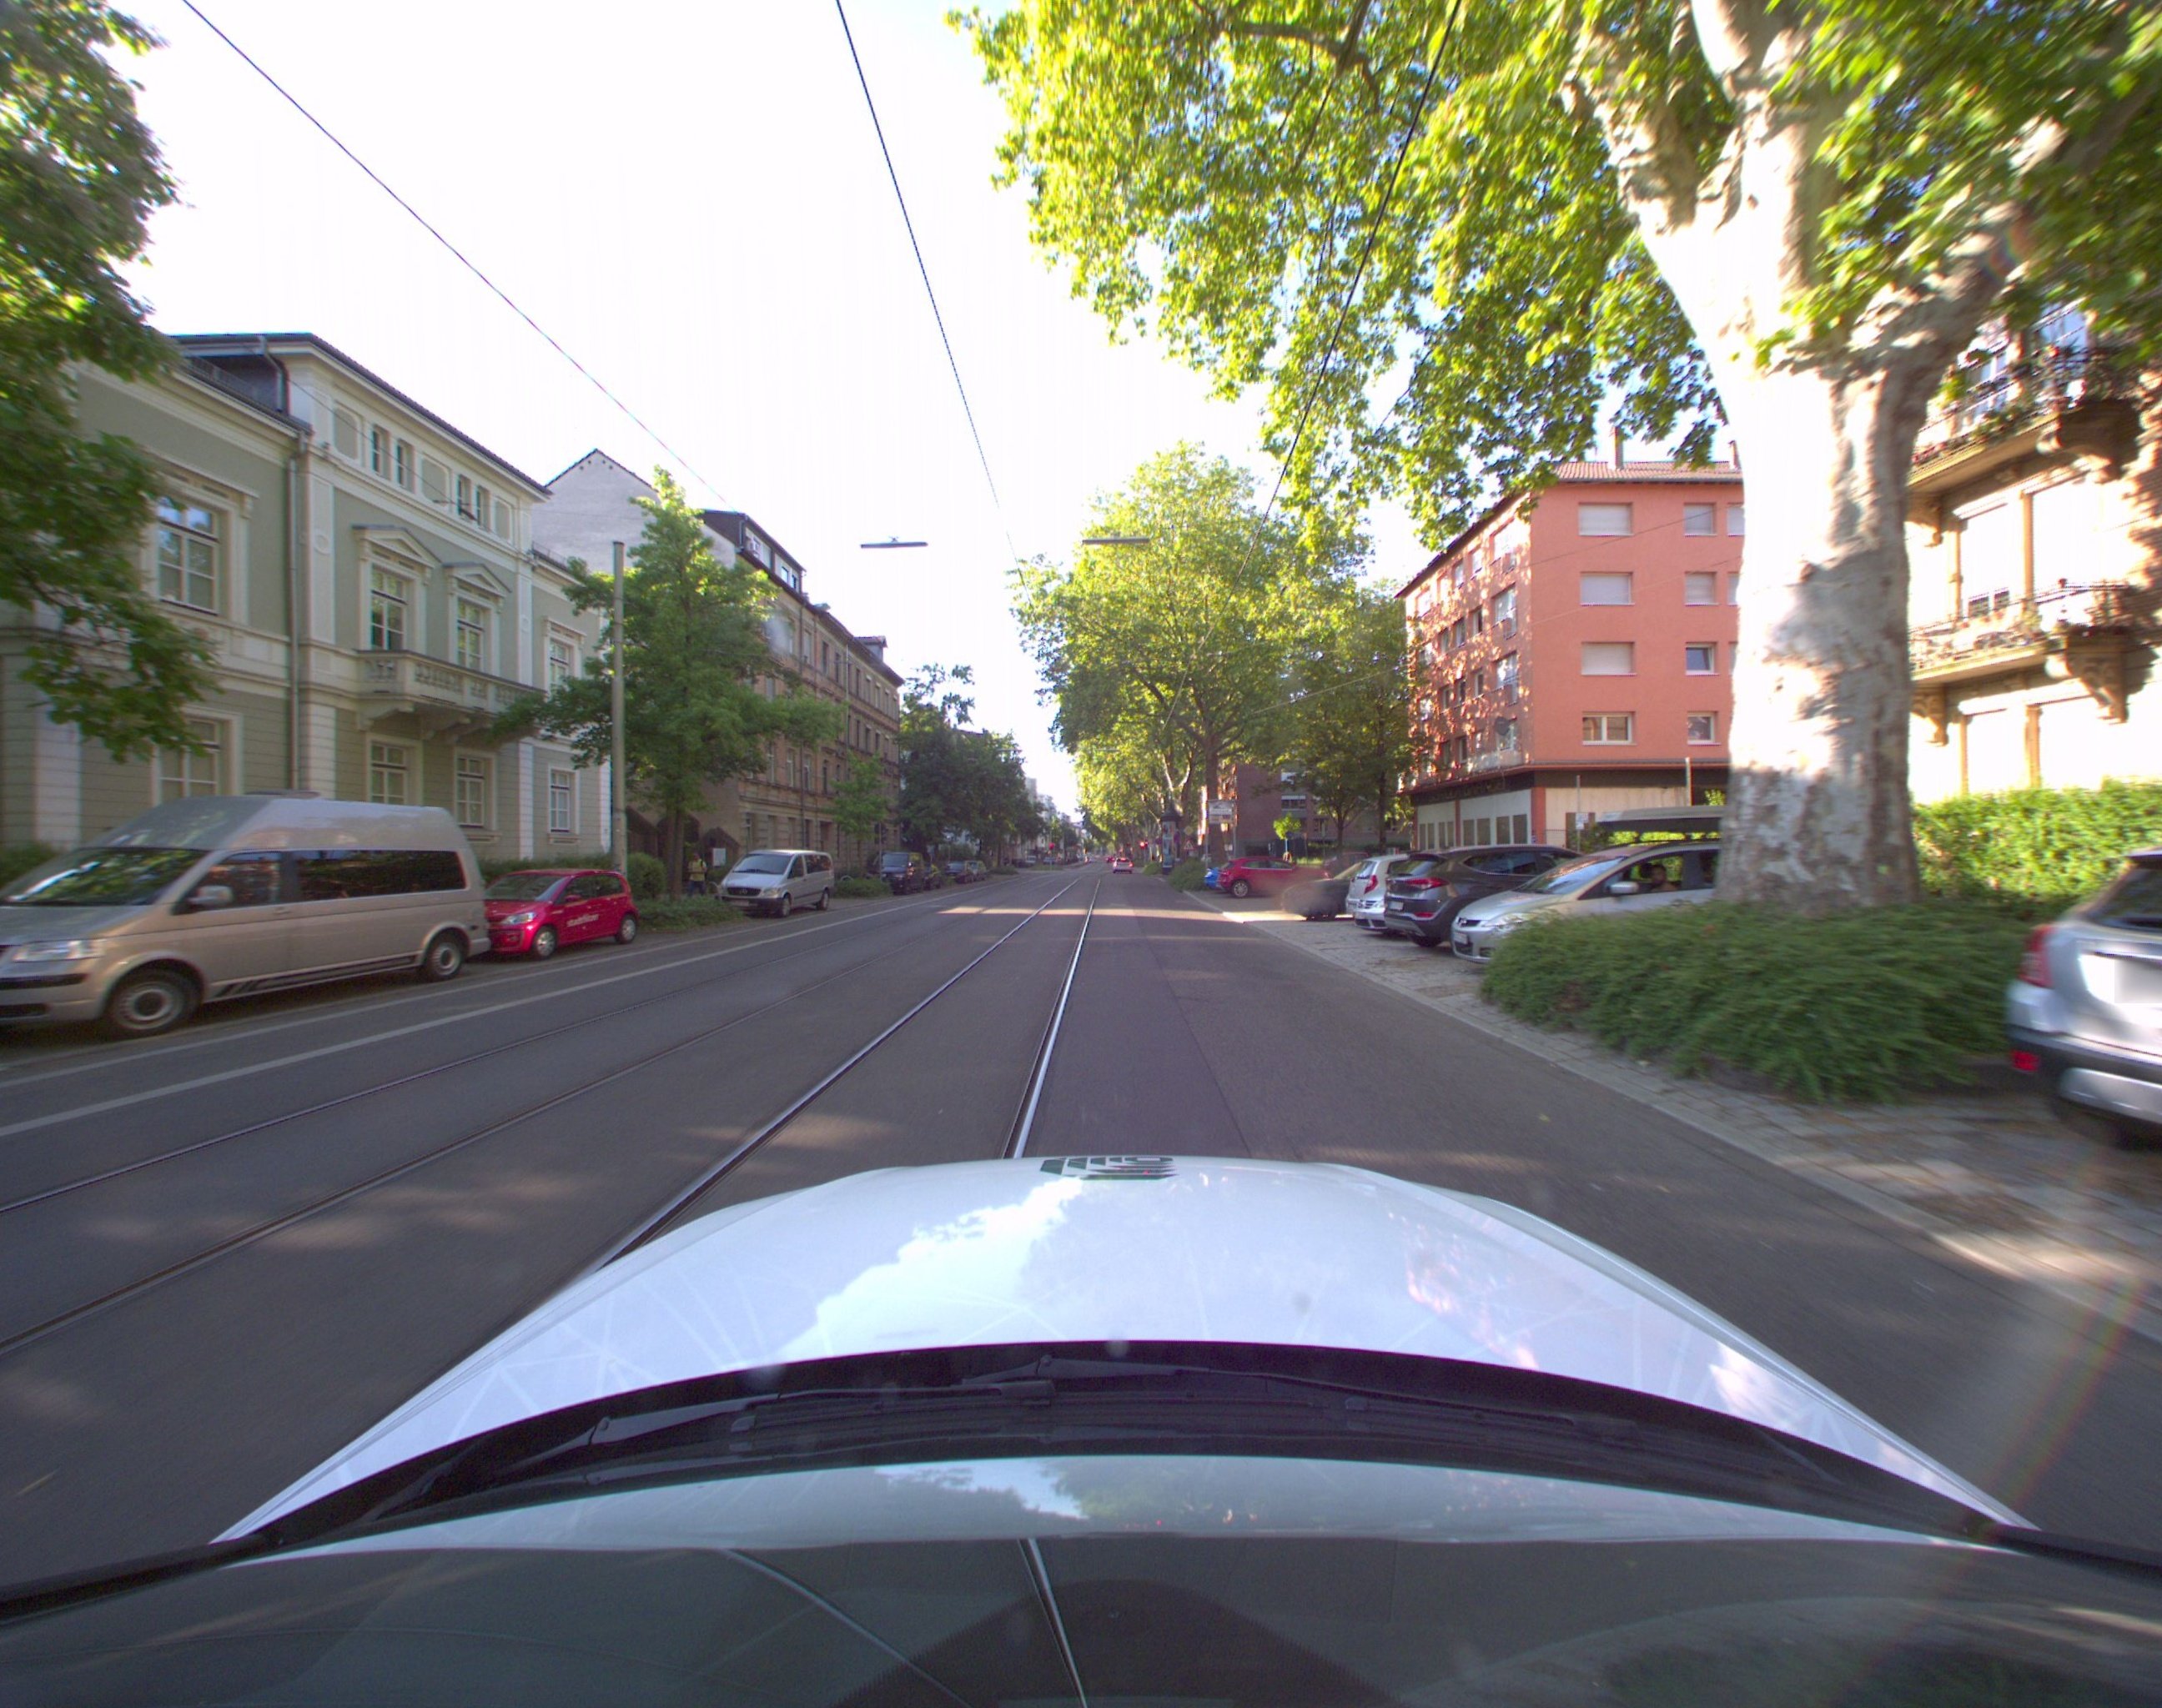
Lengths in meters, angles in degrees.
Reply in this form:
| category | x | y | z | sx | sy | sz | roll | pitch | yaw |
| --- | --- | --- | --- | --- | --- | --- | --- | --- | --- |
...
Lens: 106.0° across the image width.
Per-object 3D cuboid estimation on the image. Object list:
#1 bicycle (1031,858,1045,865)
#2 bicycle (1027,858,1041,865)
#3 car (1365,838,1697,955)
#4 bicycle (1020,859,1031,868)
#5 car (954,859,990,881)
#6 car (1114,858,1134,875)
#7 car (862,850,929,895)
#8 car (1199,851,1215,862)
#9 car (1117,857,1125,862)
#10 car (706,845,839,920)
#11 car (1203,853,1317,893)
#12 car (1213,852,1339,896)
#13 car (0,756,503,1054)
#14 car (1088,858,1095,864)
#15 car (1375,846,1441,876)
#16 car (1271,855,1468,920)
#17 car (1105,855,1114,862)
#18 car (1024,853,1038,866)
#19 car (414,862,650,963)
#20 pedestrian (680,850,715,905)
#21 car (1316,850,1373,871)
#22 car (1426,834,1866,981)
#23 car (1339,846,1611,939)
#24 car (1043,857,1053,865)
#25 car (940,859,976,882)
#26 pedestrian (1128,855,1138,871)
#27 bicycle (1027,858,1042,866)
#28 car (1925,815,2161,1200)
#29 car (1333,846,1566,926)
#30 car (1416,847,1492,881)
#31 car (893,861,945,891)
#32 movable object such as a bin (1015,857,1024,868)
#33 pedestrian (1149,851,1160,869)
| category | x | y | z | sx | sy | sz | roll | pitch | yaw |
| --- | --- | --- | --- | --- | --- | --- | --- | --- | --- |
| bicycle | -7.403 | 1.332 | 139.604 | 2.244 | 1.074 | 0.637 | 2 | 0 | 2 |
| bicycle | -7.752 | 1.273 | 134.058 | 2.244 | 1.074 | 0.637 | 2 | 0 | 2 |
| car | 6.894 | 0.610 | 12.793 | 4.188 | 1.619 | 1.878 | -1 | 0 | -2 |
| bicycle | -7.747 | 1.334 | 113.527 | 1.528 | 1.075 | 0.885 | 2 | 0 | 0 |
| car | -7.972 | 1.133 | 59.765 | 1.692 | 1.550 | 4.542 | 0 | 0 | 5 |
| car | 3.909 | 1.145 | 74.700 | 1.782 | 1.513 | 4.001 | -1 | 0 | 2 |
| car | -8.751 | 0.829 | 38.826 | 1.987 | 2.013 | 4.835 | -1 | 0 | 1 |
| car | 17.329 | 0.344 | 112.064 | 1.595 | 1.495 | 3.417 | -1 | 0 | 0 |
| car | 10.316 | 1.437 | 210.662 | 1.986 | 1.453 | 4.001 | -1 | 0 | 2 |
| car | -9.069 | 0.760 | 24.468 | 1.836 | 1.989 | 4.991 | -1 | 0 | 3 |
| car | 7.182 | 0.761 | 33.077 | 4.378 | 1.543 | 1.822 | -1 | 0 | 8 |
| car | 7.293 | 0.747 | 30.790 | 4.384 | 1.543 | 1.954 | -1 | 0 | 3 |
| car | -9.844 | 0.450 | 9.533 | 2.296 | 2.508 | 5.343 | -1 | 0 | 0 |
| car | 2.589 | 1.725 | 207.314 | 1.687 | 1.419 | 4.001 | -1 | 0 | 2 |
| car | 16.928 | 0.355 | 42.384 | 1.742 | 1.435 | 4.470 | -1 | 0 | 2 |
| car | 6.940 | 0.778 | 19.909 | 4.185 | 1.448 | 1.818 | -1 | 0 | 1 |
| car | 6.405 | 1.065 | 183.006 | 1.782 | 1.513 | 4.001 | -1 | 0 | 2 |
| car | -7.657 | 0.895 | 124.861 | 1.682 | 1.940 | 4.001 | -1 | 0 | 1 |
| car | -9.642 | 0.936 | 14.700 | 1.679 | 1.539 | 3.708 | -1 | 0 | 1 |
| pedestrian | -11.855 | 0.723 | 25.197 | 0.602 | 1.662 | 0.948 | 0 | 0 | 3 |
| car | 18.989 | 0.452 | 58.740 | 3.527 | 1.452 | 1.683 | -1 | 0 | -1 |
| car | 6.780 | 0.618 | 10.178 | 4.181 | 1.619 | 1.819 | -1 | 0 | 3 |
| car | 7.177 | 0.679 | 15.188 | 4.181 | 1.574 | 1.819 | -1 | 0 | 3 |
| car | -6.421 | 1.325 | 156.772 | 1.587 | 1.548 | 4.001 | 1 | 0 | 2 |
| car | -8.149 | 1.062 | 54.201 | 1.652 | 1.445 | 3.950 | 0 | 0 | 1 |
| pedestrian | 5.859 | 1.020 | 92.115 | 0.992 | 1.811 | 0.863 | -1 | 0 | -4 |
| bicycle | -7.554 | 1.299 | 132.328 | 2.244 | 1.074 | 0.637 | 2 | 0 | 2 |
| car | 6.423 | 0.576 | 3.481 | 3.770 | 1.619 | 1.790 | -2 | 0 | -1 |
| car | 7.759 | 0.660 | 17.472 | 4.181 | 1.555 | 1.819 | -1 | 0 | 3 |
| car | 16.878 | 0.426 | 37.094 | 1.742 | 1.435 | 3.952 | -1 | 0 | 2 |
| car | -8.685 | 1.135 | 43.995 | 1.847 | 1.458 | 4.270 | -1 | 0 | 1 |
| movable object such as a bin | -8.459 | 1.160 | 111.469 | 1.167 | 1.348 | 0.782 | 3 | -1 | -3 |
| pedestrian | 8.030 | 0.625 | 88.942 | 0.980 | 1.863 | 1.015 | -4 | 0 | -4 |
